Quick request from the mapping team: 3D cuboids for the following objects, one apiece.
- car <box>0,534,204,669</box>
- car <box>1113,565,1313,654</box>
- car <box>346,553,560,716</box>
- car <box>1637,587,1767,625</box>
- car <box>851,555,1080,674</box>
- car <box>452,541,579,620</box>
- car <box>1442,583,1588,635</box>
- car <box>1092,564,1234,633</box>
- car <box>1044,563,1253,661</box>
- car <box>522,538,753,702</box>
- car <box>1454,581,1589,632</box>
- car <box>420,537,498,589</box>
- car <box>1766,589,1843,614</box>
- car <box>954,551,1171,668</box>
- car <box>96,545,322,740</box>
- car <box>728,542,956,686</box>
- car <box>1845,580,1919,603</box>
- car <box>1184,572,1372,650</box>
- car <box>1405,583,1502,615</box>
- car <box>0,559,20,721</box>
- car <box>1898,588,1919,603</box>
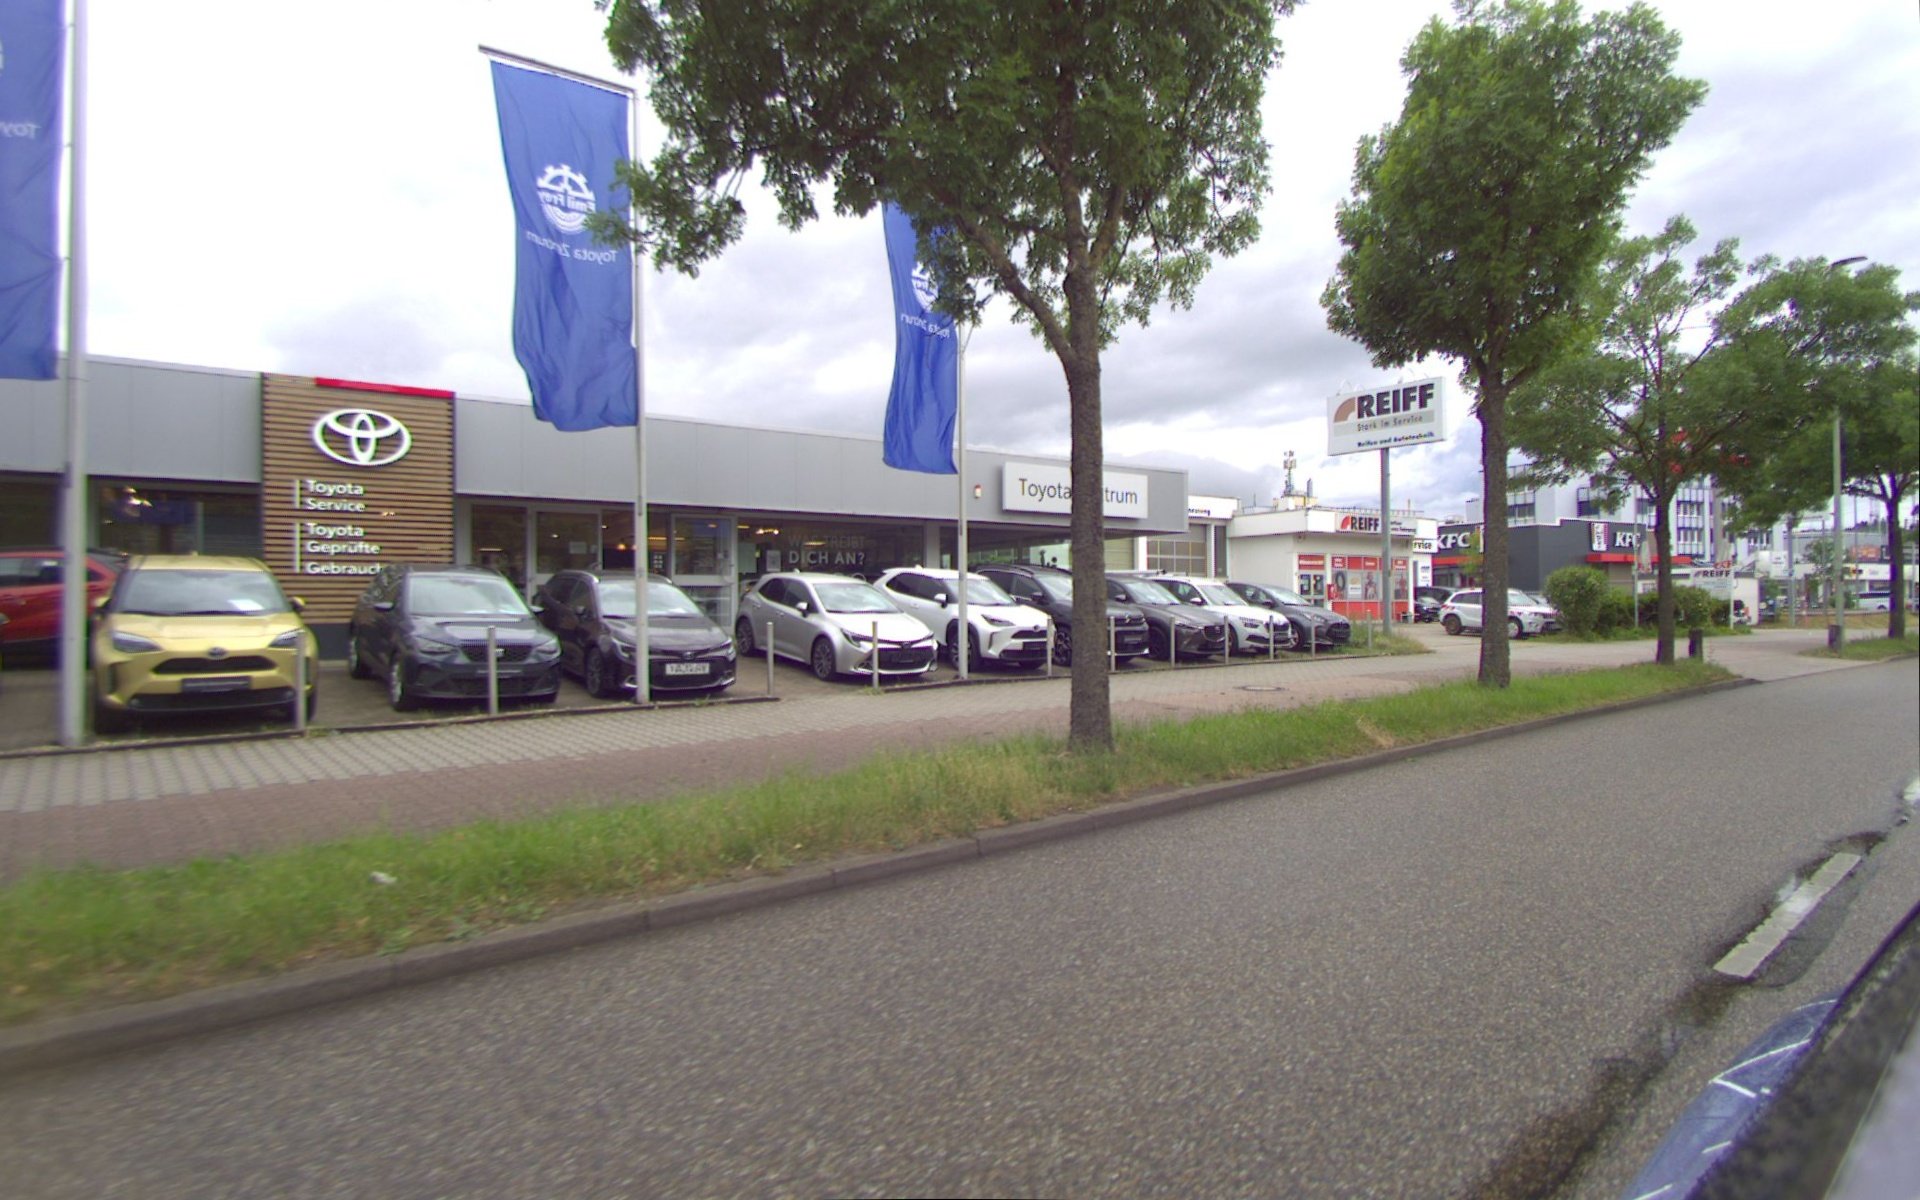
[{"bbox_3d":[-12.250,-0.008,12.994,4.047,1.642,1.879,0,2,-38],"label":"car"},{"bbox_3d":[5.471,0.137,22.307,1.778,1.562,4.001,0,4,-36],"label":"car"},{"bbox_3d":[-6.340,0.278,12.419,1.679,1.566,4.001,0,3,-36],"label":"car"},{"bbox_3d":[32.197,0.232,44.048,1.852,1.571,4.192,0,0,-30],"label":"car"},{"bbox_3d":[-0.015,0.173,17.654,1.780,1.606,3.998,1,5,-40],"label":"car"},{"bbox_3d":[-9.726,-0.401,22.004,1.643,1.555,3.998,0,1,-37],"label":"car"},{"bbox_3d":[18.538,0.246,34.035,1.943,1.617,4.077,0,1,-18],"label":"car"},{"bbox_3d":[6.868,-0.075,34.679,1.929,2.177,4.664,0,0,-39],"label":"car"},{"bbox_3d":[3.740,0.158,20.681,1.778,1.603,4.001,0,4,-36],"label":"car"},{"bbox_3d":[-4.504,0.134,13.746,1.778,1.808,4.001,0,4,-36],"label":"car"},{"bbox_3d":[20.032,0.201,36.313,1.783,1.683,4.164,2,0,-15],"label":"car"},{"bbox_3d":[-15.914,-1.139,32.097,1.642,1.555,3.474,0,1,-36],"label":"car"},{"bbox_3d":[66.110,0.093,79.302,1.761,1.806,4.256,3,-1,-27],"label":"car"},{"bbox_3d":[1.816,0.083,19.099,1.778,1.807,4.002,0,4,-36],"label":"car"},{"bbox_3d":[-8.065,0.284,10.729,1.638,1.585,3.847,0,4,-41],"label":"car"},{"bbox_3d":[-1.985,0.100,15.997,1.778,1.807,4.002,0,5,-36],"label":"car"},{"bbox_3d":[82.181,-0.742,90.083,1.958,2.039,4.797,1,0,-22],"label":"car"},{"bbox_3d":[7.405,0.204,23.861,1.795,1.479,3.844,0,4,-39],"label":"car"},{"bbox_3d":[23.644,-0.048,48.591,1.754,1.497,3.858,-1,0,-36],"label":"car"},{"bbox_3d":[-9.779,0.390,8.999,1.767,1.558,3.996,0,1,-39],"label":"car"},{"bbox_3d":[89.331,-0.433,92.929,1.785,1.411,4.383,0,0,-23],"label":"car"}]
